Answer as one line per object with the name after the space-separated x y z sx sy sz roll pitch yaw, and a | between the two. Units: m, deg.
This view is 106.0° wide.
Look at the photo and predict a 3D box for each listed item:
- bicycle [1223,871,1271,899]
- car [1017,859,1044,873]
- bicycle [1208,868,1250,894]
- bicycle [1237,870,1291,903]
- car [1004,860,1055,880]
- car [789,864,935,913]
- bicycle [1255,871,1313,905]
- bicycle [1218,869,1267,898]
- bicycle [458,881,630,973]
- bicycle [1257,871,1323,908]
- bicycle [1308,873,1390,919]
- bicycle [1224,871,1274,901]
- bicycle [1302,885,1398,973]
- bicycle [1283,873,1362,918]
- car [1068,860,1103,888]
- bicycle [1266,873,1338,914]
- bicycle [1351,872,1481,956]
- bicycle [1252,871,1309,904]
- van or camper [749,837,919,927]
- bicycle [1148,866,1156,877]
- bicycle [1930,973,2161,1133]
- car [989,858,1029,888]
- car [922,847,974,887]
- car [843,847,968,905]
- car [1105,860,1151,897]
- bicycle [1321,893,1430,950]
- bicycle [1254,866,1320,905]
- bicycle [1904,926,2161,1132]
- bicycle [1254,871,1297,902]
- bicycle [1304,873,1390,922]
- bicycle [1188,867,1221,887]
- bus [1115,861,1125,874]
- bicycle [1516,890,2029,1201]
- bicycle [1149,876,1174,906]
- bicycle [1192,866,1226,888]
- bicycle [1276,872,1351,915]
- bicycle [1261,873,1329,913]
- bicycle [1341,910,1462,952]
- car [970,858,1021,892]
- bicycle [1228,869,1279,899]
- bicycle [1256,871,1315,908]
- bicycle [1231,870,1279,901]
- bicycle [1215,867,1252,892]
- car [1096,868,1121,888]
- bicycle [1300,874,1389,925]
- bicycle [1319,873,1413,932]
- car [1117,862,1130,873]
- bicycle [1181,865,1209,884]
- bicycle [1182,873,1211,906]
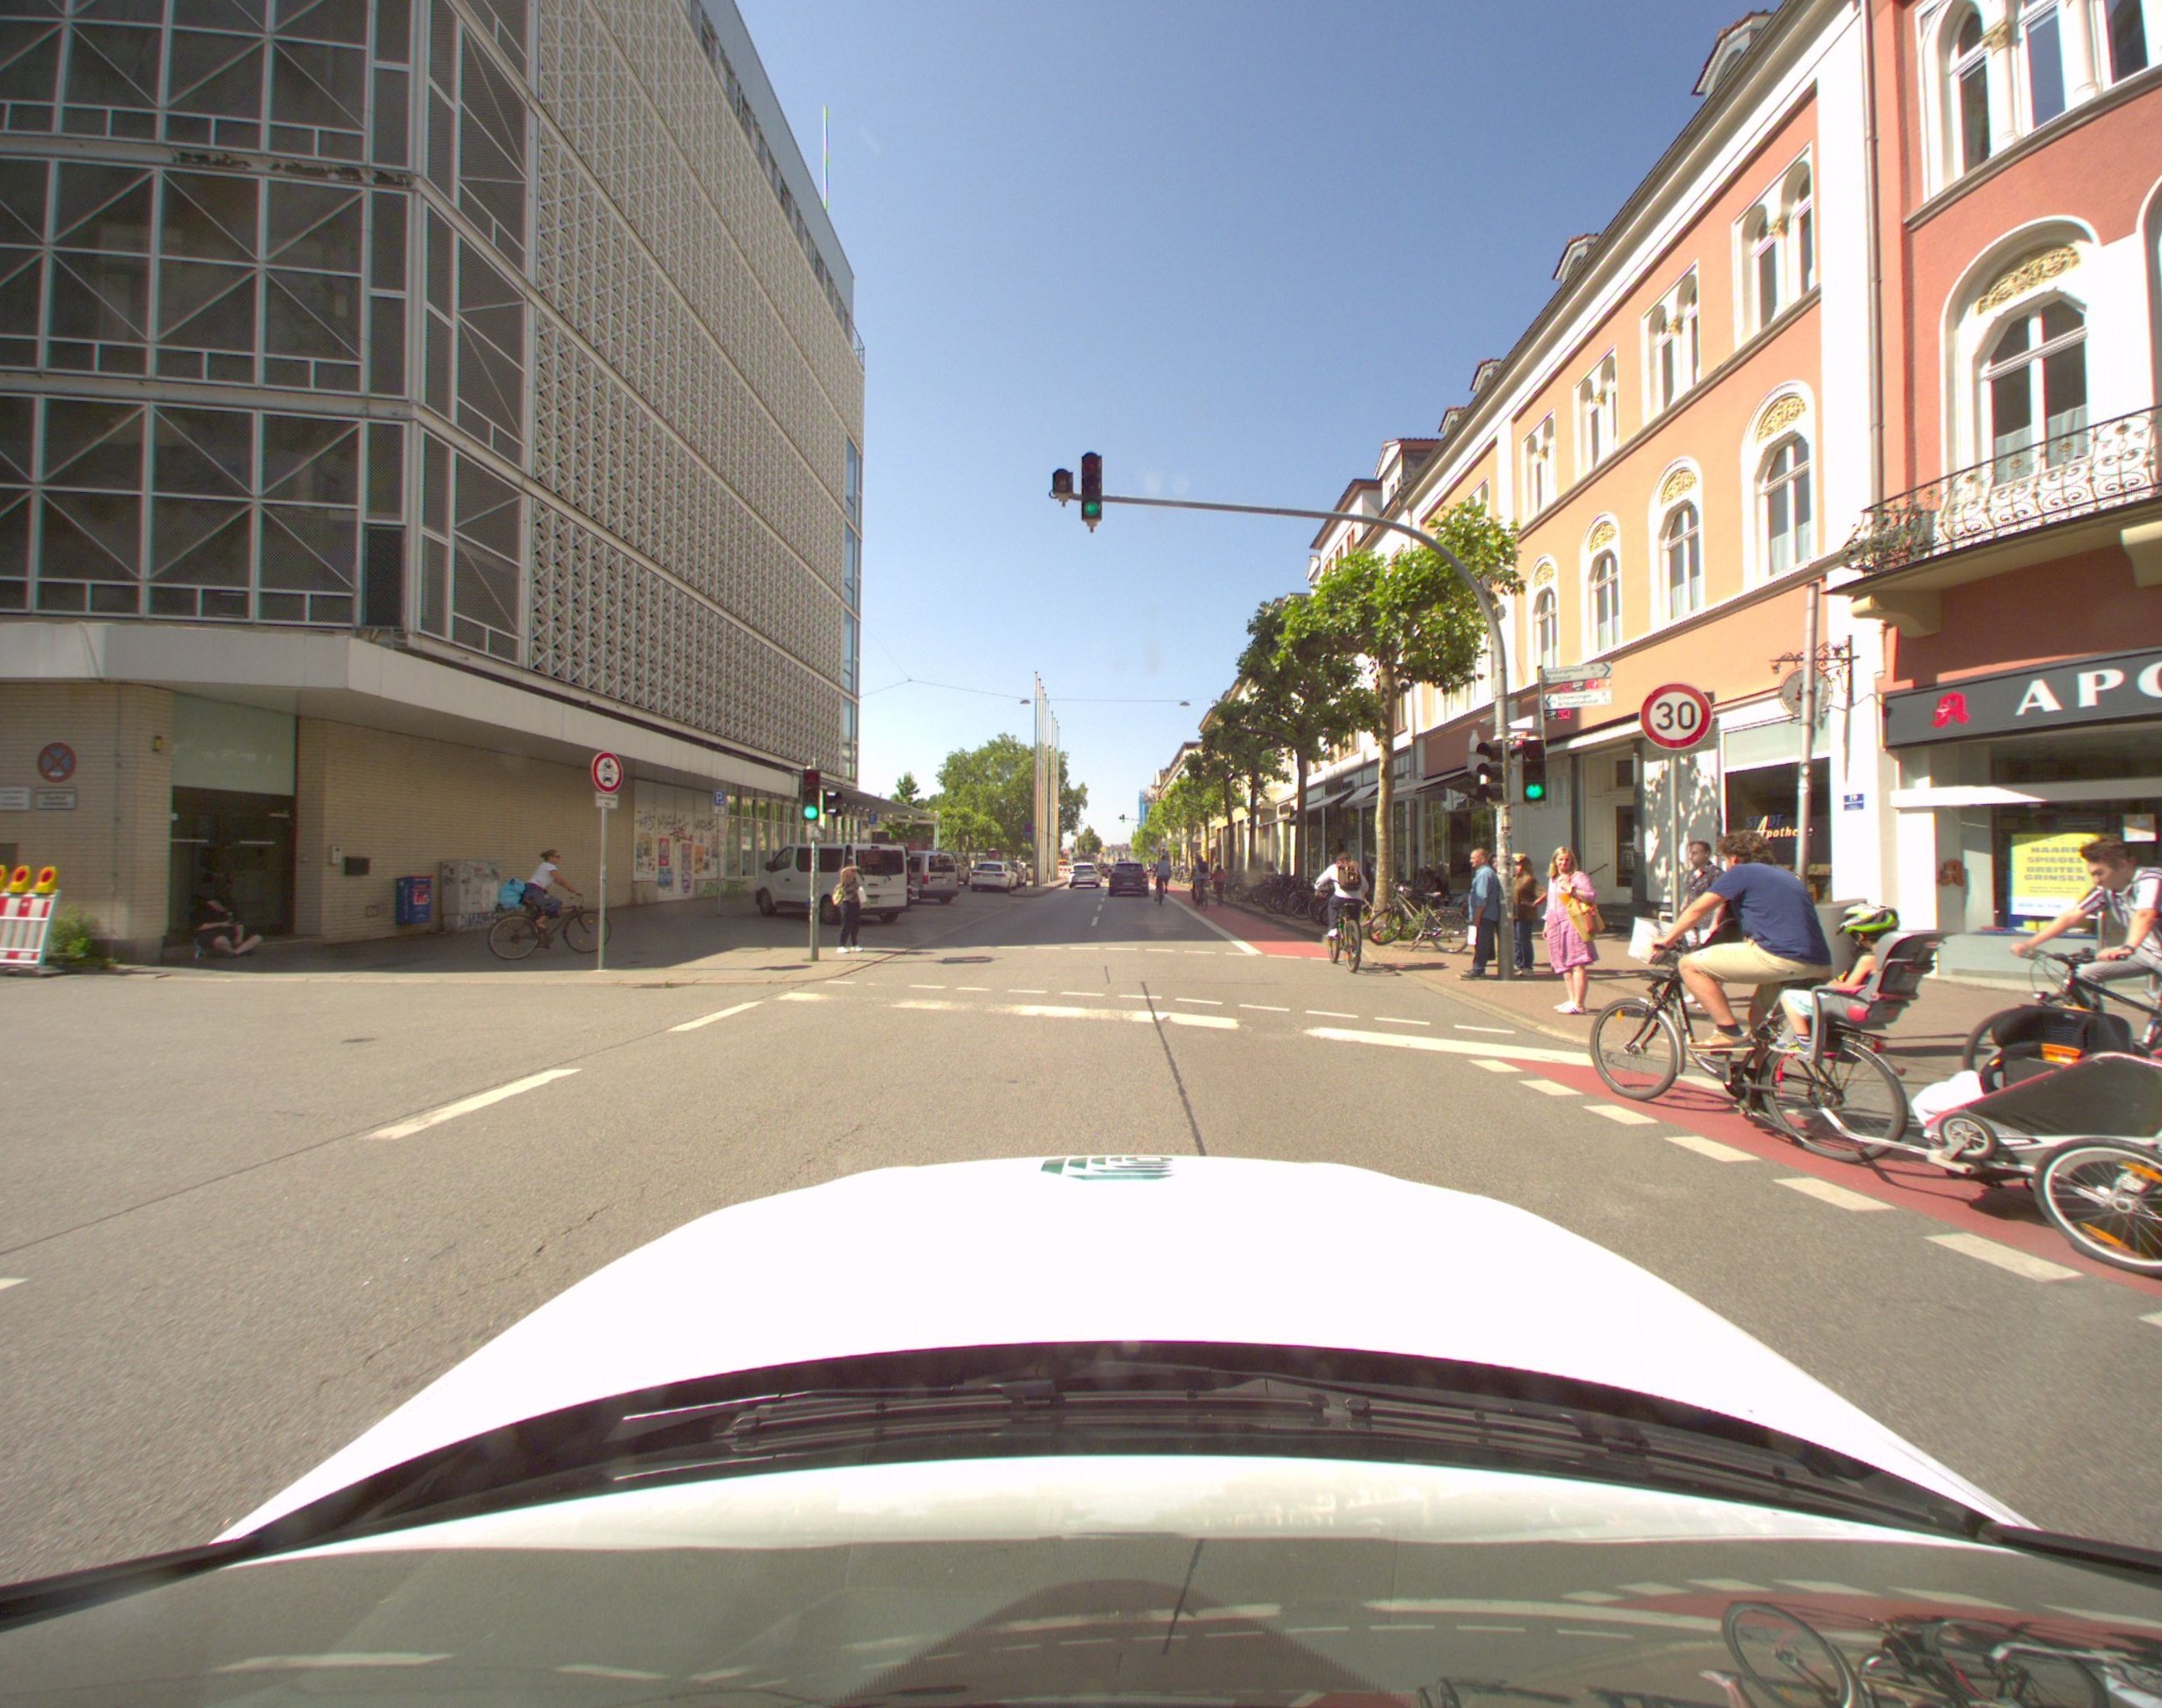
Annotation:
6.753 1.260 33.150 1.839 1.093 0.563 2 -1 -9 | bicycle
-7.011 1.732 113.894 1.842 1.955 4.786 0 -1 23 | car
6.906 1.260 38.105 1.837 1.127 0.496 2 0 -6 | bicycle
6.512 1.158 29.057 1.822 1.127 0.451 -1 -2 30 | bicycle
-4.219 1.309 67.488 1.873 1.541 4.892 1 1 29 | car
-6.829 1.022 25.284 4.243 1.286 1.983 2 -1 33 | car
6.791 1.126 27.287 1.831 1.127 0.449 0 -2 4 | bicycle
6.675 1.204 33.653 1.839 1.127 0.630 2 -2 -9 | bicycle
-8.607 1.116 13.170 0.727 1.267 2.225 -1 0 30 | bicycle
6.612 1.119 25.776 1.971 1.127 0.764 -1 -2 15 | bicycle
6.629 1.039 20.191 1.832 1.127 0.667 0 -2 4 | bicycle
6.473 1.219 31.444 1.833 1.093 0.565 1 -1 2 | bicycle
3.944 1.066 12.122 0.696 1.127 2.080 2 -1 -1 | bicycle
6.155 1.057 20.812 1.832 1.127 0.644 0 -2 4 | bicycle
0.305 1.140 47.869 1.838 1.560 4.003 -1 -1 3 | car
6.129 1.093 22.673 1.832 1.127 0.667 0 -2 4 | bicycle
5.588 0.959 13.634 1.833 1.188 0.721 4 3 40 | bicycle
6.792 1.133 27.746 1.831 1.127 0.449 0 -2 4 | bicycle
-6.420 0.627 20.884 4.602 2.013 2.012 2 0 41 | van or camper
6.477 1.593 74.158 0.644 0.998 2.032 0 -1 2 | bicycle
6.320 1.175 4.912 1.814 0.844 0.501 -1 -1 2 | bicycle
-4.049 1.039 46.377 1.754 1.600 4.711 0 -1 1 | car
-7.154 0.689 44.149 1.825 2.014 4.688 0 -1 3 | car
-6.324 0.730 29.133 4.389 1.909 2.022 0 0 39 | car
2.085 1.084 37.158 1.840 1.559 3.999 -1 -1 0 | car
5.873 1.361 16.353 1.842 0.397 1.019 8 -36 6 | bicycle
6.148 0.930 24.379 1.831 1.127 0.680 0 -1 4 | bicycle
6.353 1.035 4.985 1.830 1.127 0.667 0 -2 6 | bicycle
7.181 1.185 30.014 1.853 1.127 0.443 1 -3 -35 | bicycle
6.263 1.023 19.232 1.832 1.127 0.667 0 -2 4 | bicycle
7.131 1.339 47.198 1.827 1.127 0.499 1 -1 13 | bicycle
11.796 4.148 246.453 2.983 3.594 11.748 0 -1 2 | bus
3.837 0.919 4.867 0.734 1.269 2.267 1 1 -20 | bicycle
2.862 1.307 29.181 0.771 1.006 2.331 0 -1 3 | bicycle
7.249 1.285 46.128 1.829 1.197 0.675 1 -1 9 | bicycle
6.220 1.063 21.858 1.832 1.127 0.667 0 -2 4 | bicycle
6.126 1.105 23.369 1.832 1.127 0.530 0 -2 4 | bicycle
6.071 1.491 15.542 1.142 0.434 1.842 -10 -5 -24 | bicycle
-4.192 0.998 40.578 1.792 1.523 4.741 1 0 2 | car
6.860 1.207 32.405 1.840 1.127 0.762 3 -2 -11 | bicycle
6.657 1.153 26.489 1.827 1.127 0.532 2 -2 14 | bicycle
6.439 1.160 30.089 1.853 1.127 0.587 1 -2 -34 | bicycle
7.456 1.267 39.754 1.783 1.197 0.573 1 -1 -26 | bicycle
2.076 1.832 62.668 1.839 1.449 4.001 -1 -1 2 | car
5.958 1.011 18.468 1.829 1.127 0.668 0 -2 9 | bicycle
5.976 1.010 17.157 1.826 1.127 0.347 2 0 17 | bicycle
6.427 2.045 123.756 1.838 1.668 4.001 2 -1 1 | car
7.674 1.394 54.952 1.830 1.186 0.671 1 -1 7 | bicycle
4.192 1.259 29.708 0.696 1.127 2.080 2 -1 -1 | bicycle
